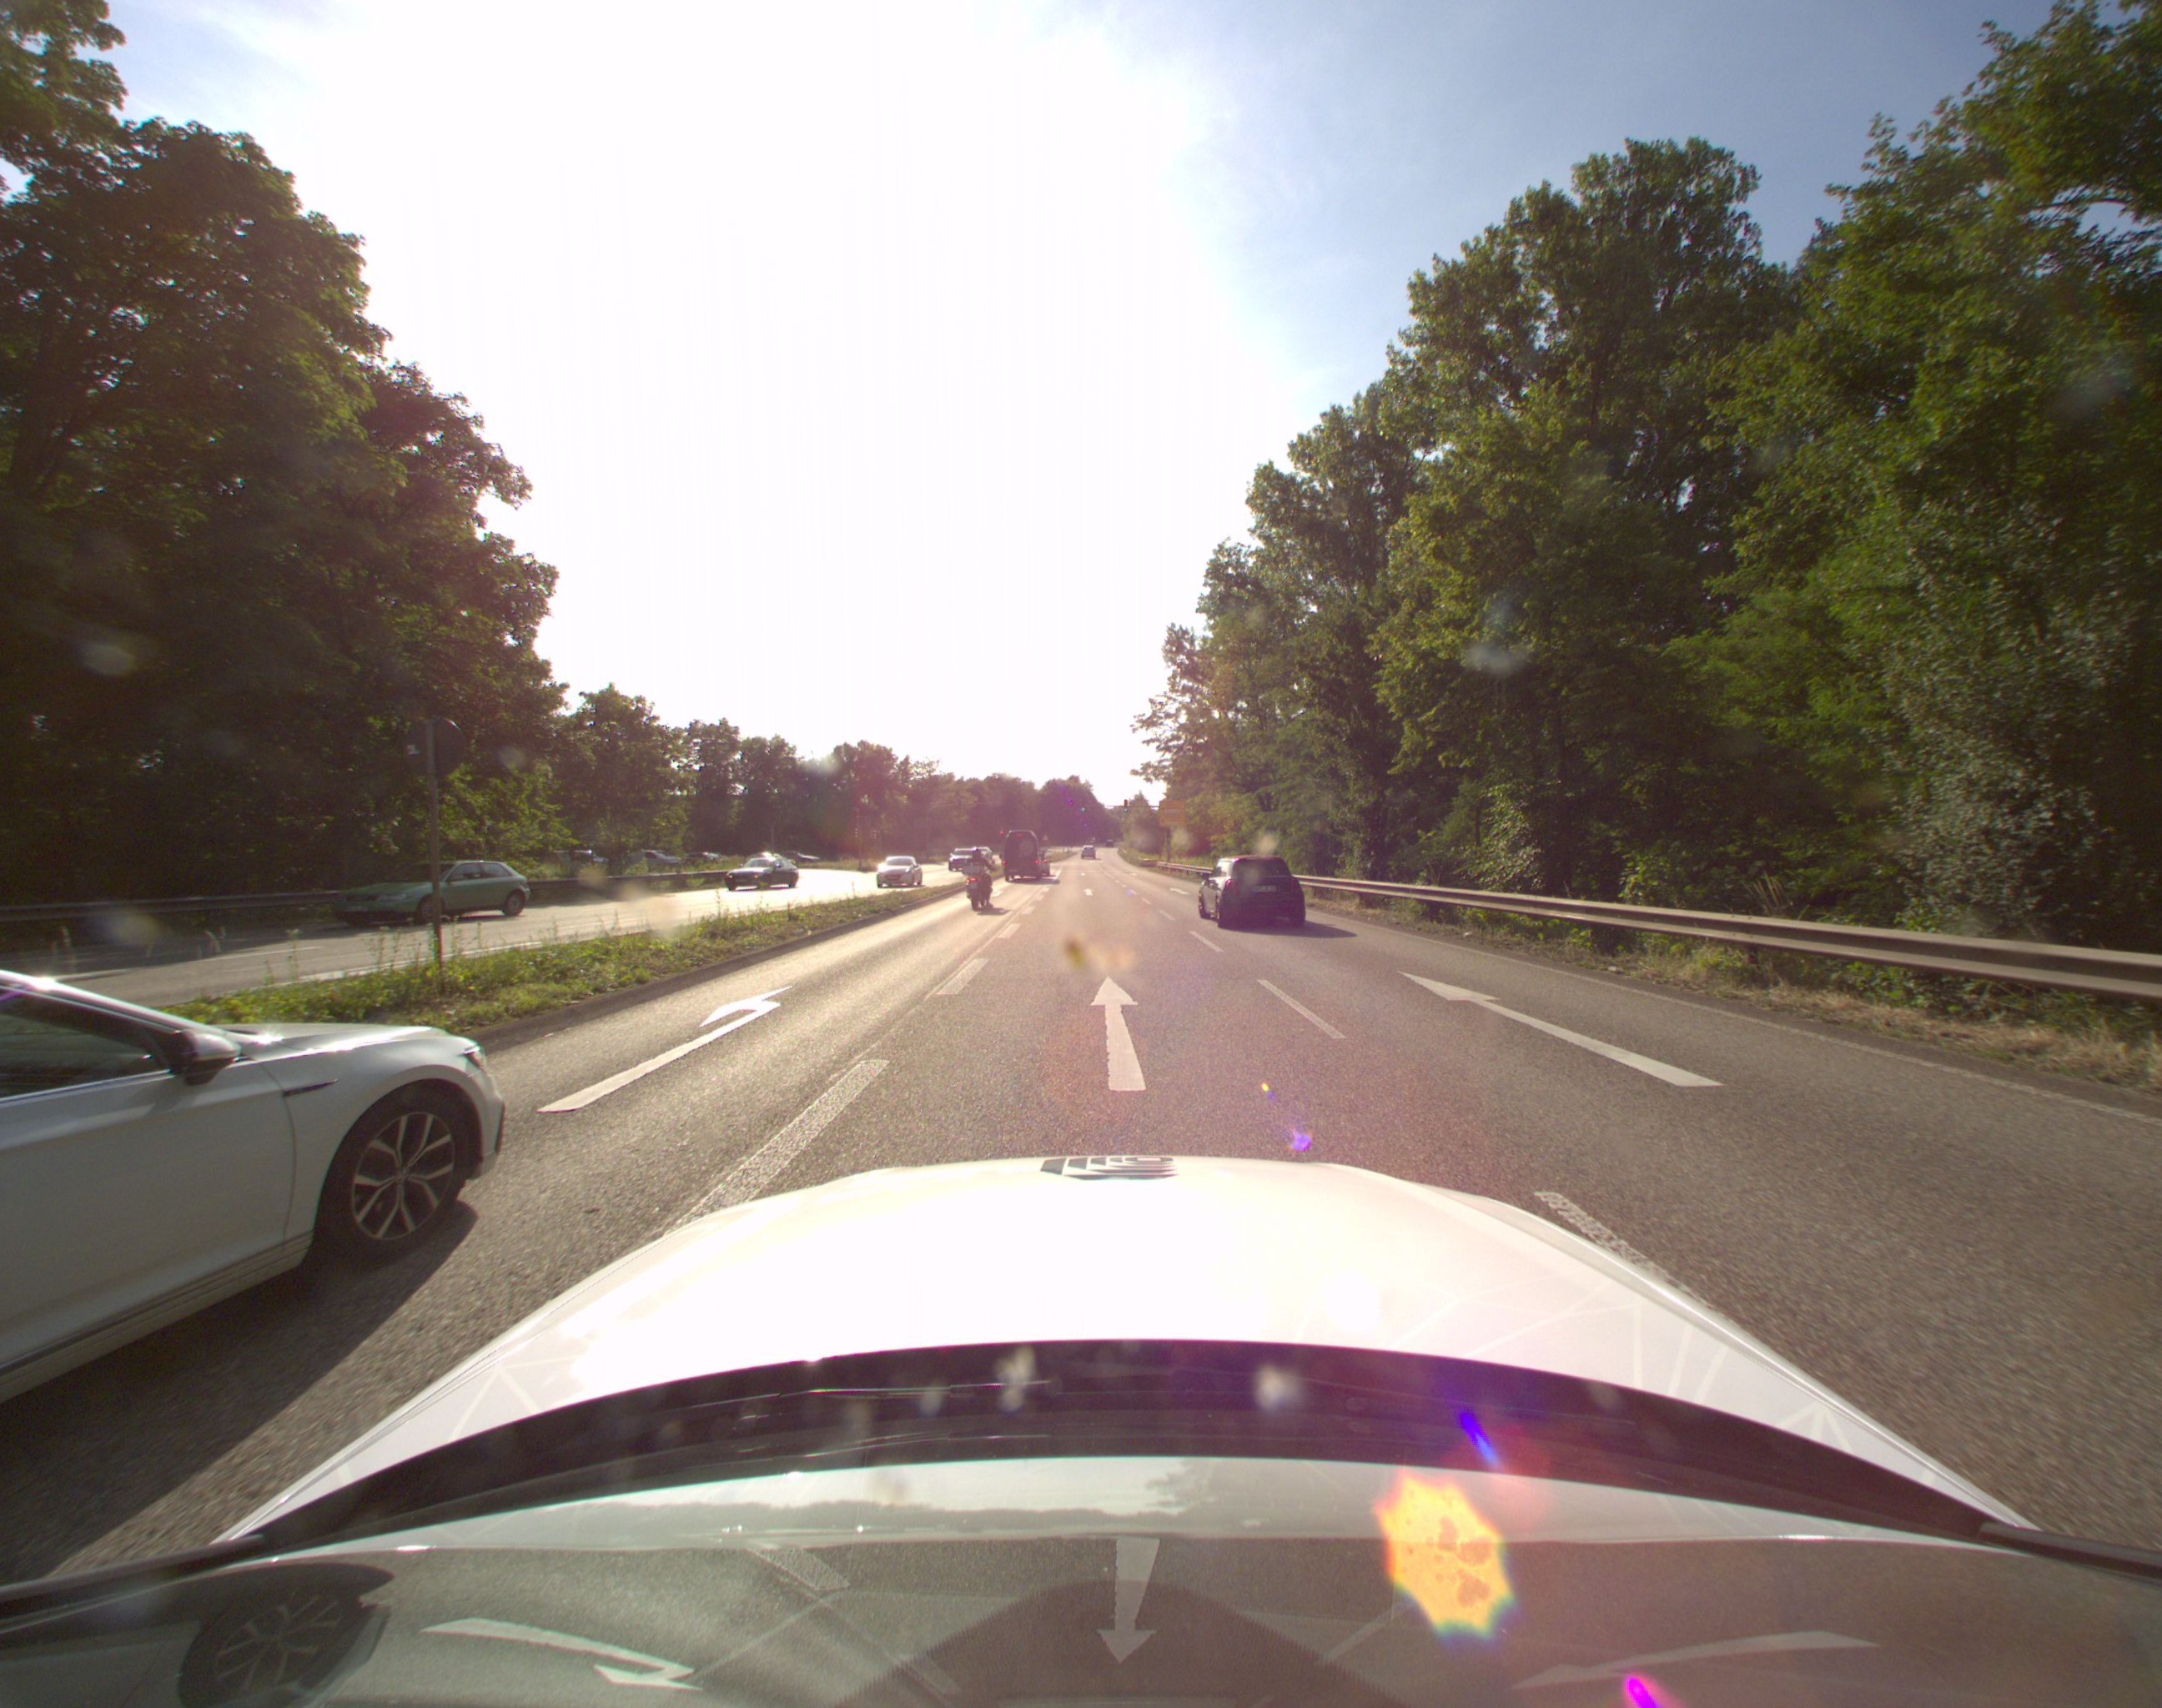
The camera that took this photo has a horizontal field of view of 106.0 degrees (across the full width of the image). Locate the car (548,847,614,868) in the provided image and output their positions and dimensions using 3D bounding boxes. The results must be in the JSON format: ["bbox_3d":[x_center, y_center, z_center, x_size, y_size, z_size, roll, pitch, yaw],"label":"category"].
[{"bbox_3d":[-44.318,0.305,72.223,4.611,1.727,2.197,1,0,8],"label":"car"}]

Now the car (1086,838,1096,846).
[{"bbox_3d":[2.536,-3.059,210.101,1.839,1.786,4.683,1,0,10],"label":"car"}]

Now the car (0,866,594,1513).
[{"bbox_3d":[-3.573,0.846,1.904,1.863,1.521,4.835,0,0,1],"label":"car"}]

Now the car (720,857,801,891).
[{"bbox_3d":[-14.520,0.863,37.223,1.782,1.406,4.754,0,0,0],"label":"car"}]

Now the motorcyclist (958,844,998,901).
[{"bbox_3d":[-2.996,0.521,23.907,0.879,1.616,1.292,1,0,5],"label":"motorcyclist"}]

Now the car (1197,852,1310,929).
[{"bbox_3d":[3.614,0.712,17.704,1.812,1.467,3.875,0,0,2],"label":"car"}]

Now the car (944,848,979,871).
[{"bbox_3d":[-9.636,0.424,66.234,2.069,1.763,4.756,-2,0,0],"label":"car"}]

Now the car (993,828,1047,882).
[{"bbox_3d":[-3.470,0.018,47.771,2.201,2.888,7.016,-1,0,3],"label":"car"}]

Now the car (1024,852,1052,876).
[{"bbox_3d":[-2.876,0.637,55.172,1.640,1.489,4.104,-1,0,1],"label":"car"}]

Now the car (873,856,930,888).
[{"bbox_3d":[-8.667,0.820,39.639,1.782,1.411,4.226,1,0,0],"label":"car"}]

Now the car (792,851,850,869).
[{"bbox_3d":[-24.408,0.557,76.578,4.697,1.490,2.167,1,0,-2],"label":"car"}]

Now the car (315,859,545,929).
[{"bbox_3d":[-15.071,0.848,19.235,1.731,1.378,4.378,-1,0,3],"label":"car"}]

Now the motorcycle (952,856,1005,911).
[{"bbox_3d":[-2.971,0.815,23.924,0.904,1.453,2.692,-3,0,5],"label":"motorcycle"}]

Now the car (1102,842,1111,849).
[{"bbox_3d":[5.758,-1.993,182.161,1.740,1.537,3.924,1,0,-1],"label":"car"}]

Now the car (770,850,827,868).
[{"bbox_3d":[-25.525,0.418,73.674,4.395,1.490,1.999,1,0,-2],"label":"car"}]

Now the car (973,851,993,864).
[{"bbox_3d":[-11.449,0.382,95.481,1.879,1.503,4.261,-2,0,-2],"label":"car"}]

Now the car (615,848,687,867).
[{"bbox_3d":[-37.485,0.313,71.090,5.025,1.490,2.453,1,0,8],"label":"car"}]

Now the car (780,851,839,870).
[{"bbox_3d":[-23.476,0.534,70.582,4.381,1.490,2.005,1,0,9],"label":"car"}]

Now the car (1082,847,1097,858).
[{"bbox_3d":[1.109,-0.247,106.075,1.753,1.380,3.976,1,0,4],"label":"car"}]
